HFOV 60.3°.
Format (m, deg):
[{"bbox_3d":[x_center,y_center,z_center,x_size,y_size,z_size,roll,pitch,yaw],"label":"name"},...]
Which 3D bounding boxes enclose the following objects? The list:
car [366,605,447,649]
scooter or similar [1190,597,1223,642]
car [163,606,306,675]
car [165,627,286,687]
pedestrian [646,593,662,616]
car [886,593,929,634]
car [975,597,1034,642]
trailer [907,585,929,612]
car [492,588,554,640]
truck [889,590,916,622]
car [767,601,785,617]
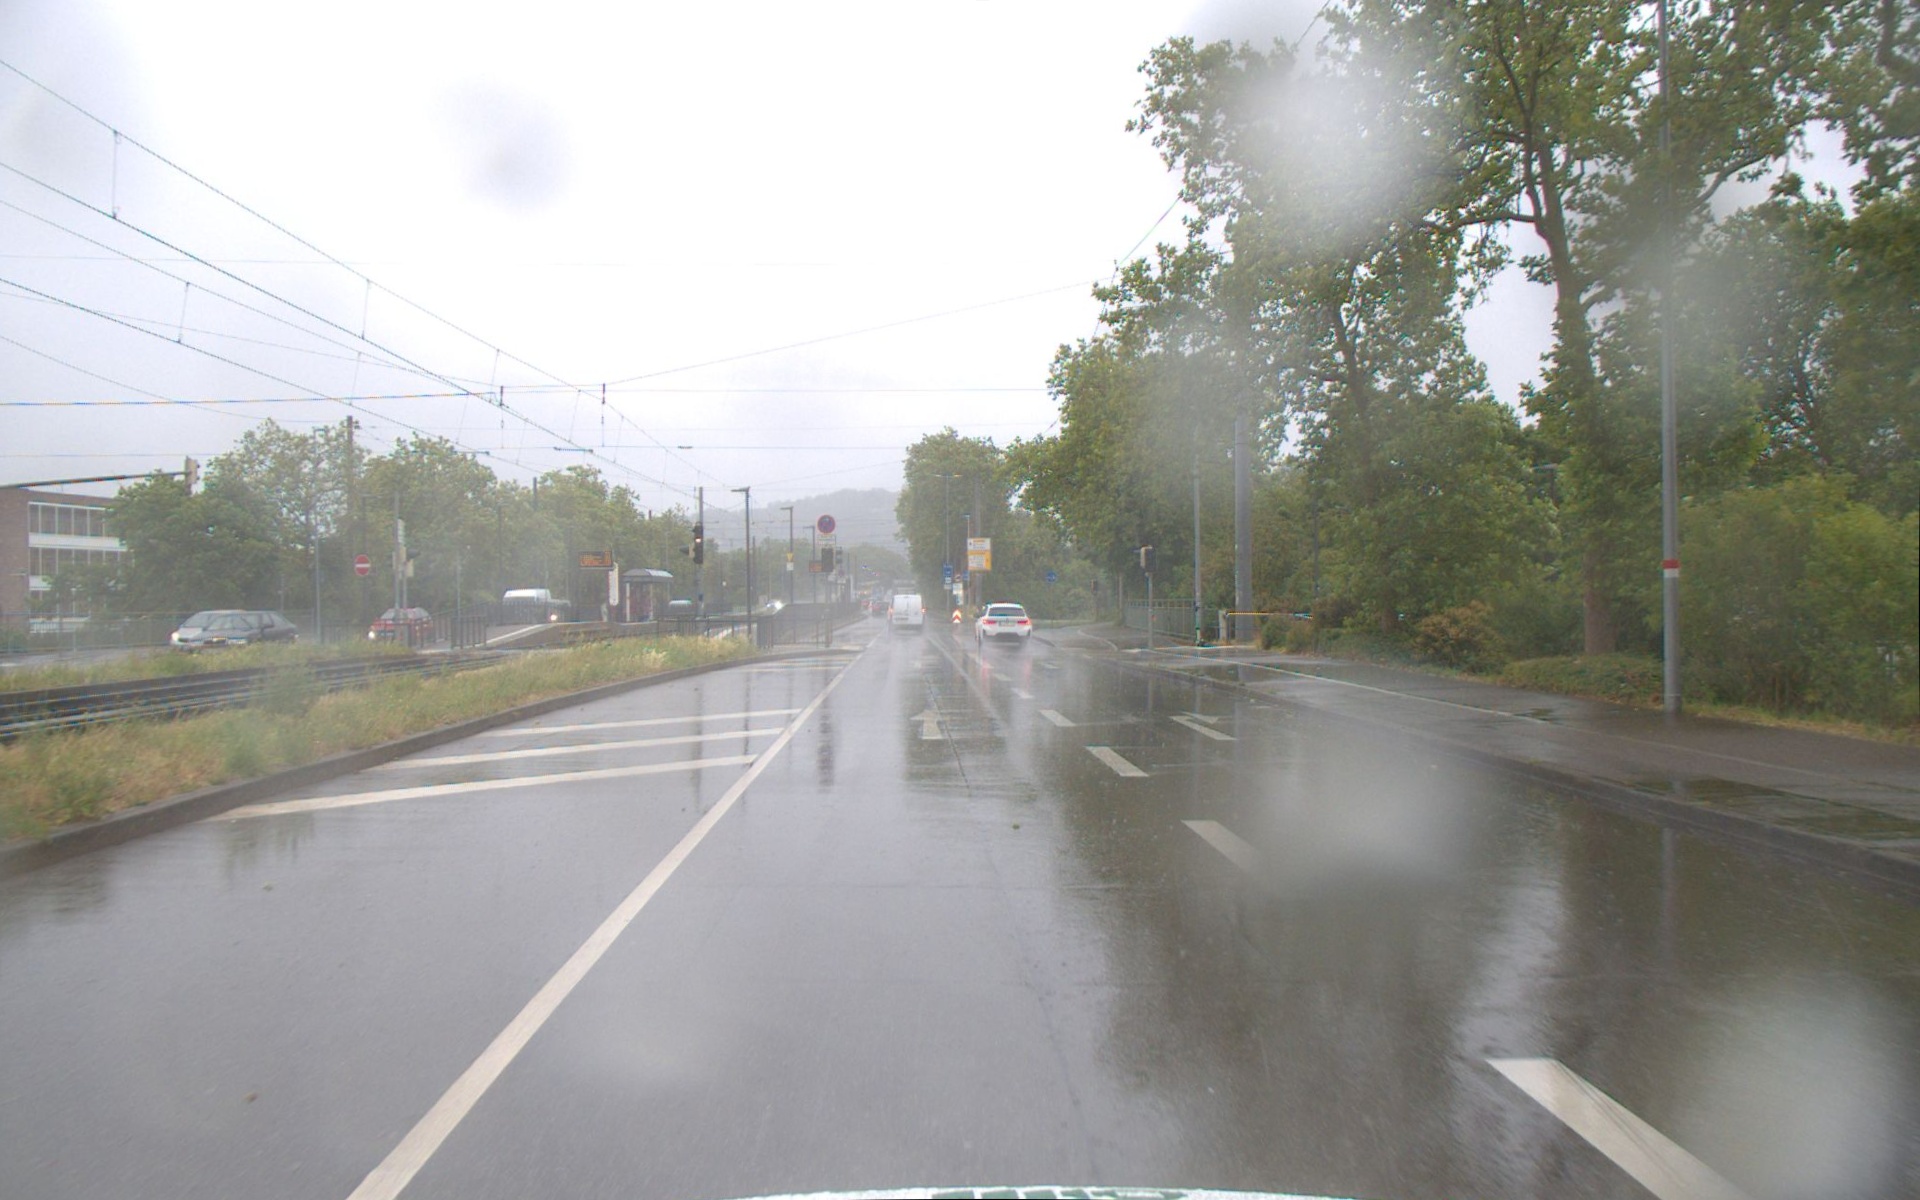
[{"bbox_3d":[-23.173,1.108,69.362,1.953,1.736,4.623,0,0,-2],"label":"car"},{"bbox_3d":[7.326,0.572,49.234,0.743,1.315,1.647,0,-1,1],"label":"scooter or similar"},{"bbox_3d":[-19.761,1.059,45.261,1.954,1.623,4.380,-4,0,-1],"label":"car"},{"bbox_3d":[-22.974,1.759,51.898,1.953,1.623,4.093,-3,0,-2],"label":"car"},{"bbox_3d":[-18.047,0.264,97.572,0.814,1.339,0.858,1,0,-2],"label":"pedestrian"},{"bbox_3d":[-2.493,0.618,77.556,1.954,1.881,3.998,0,0,-3],"label":"car"},{"bbox_3d":[1.480,0.645,56.372,1.850,1.456,3.999,0,0,-1],"label":"car"},{"bbox_3d":[-4.398,-0.141,173.990,2.121,2.806,5.676,0,0,0],"label":"trailer"},{"bbox_3d":[-24.041,0.756,91.212,2.077,2.760,5.736,0,0,-2],"label":"car"},{"bbox_3d":[-7.138,0.756,205.291,2.722,3.769,9.839,0,0,-6],"label":"truck"},{"bbox_3d":[-24.613,1.212,221.295,1.953,2.049,3.999,0,0,-1],"label":"car"}]
